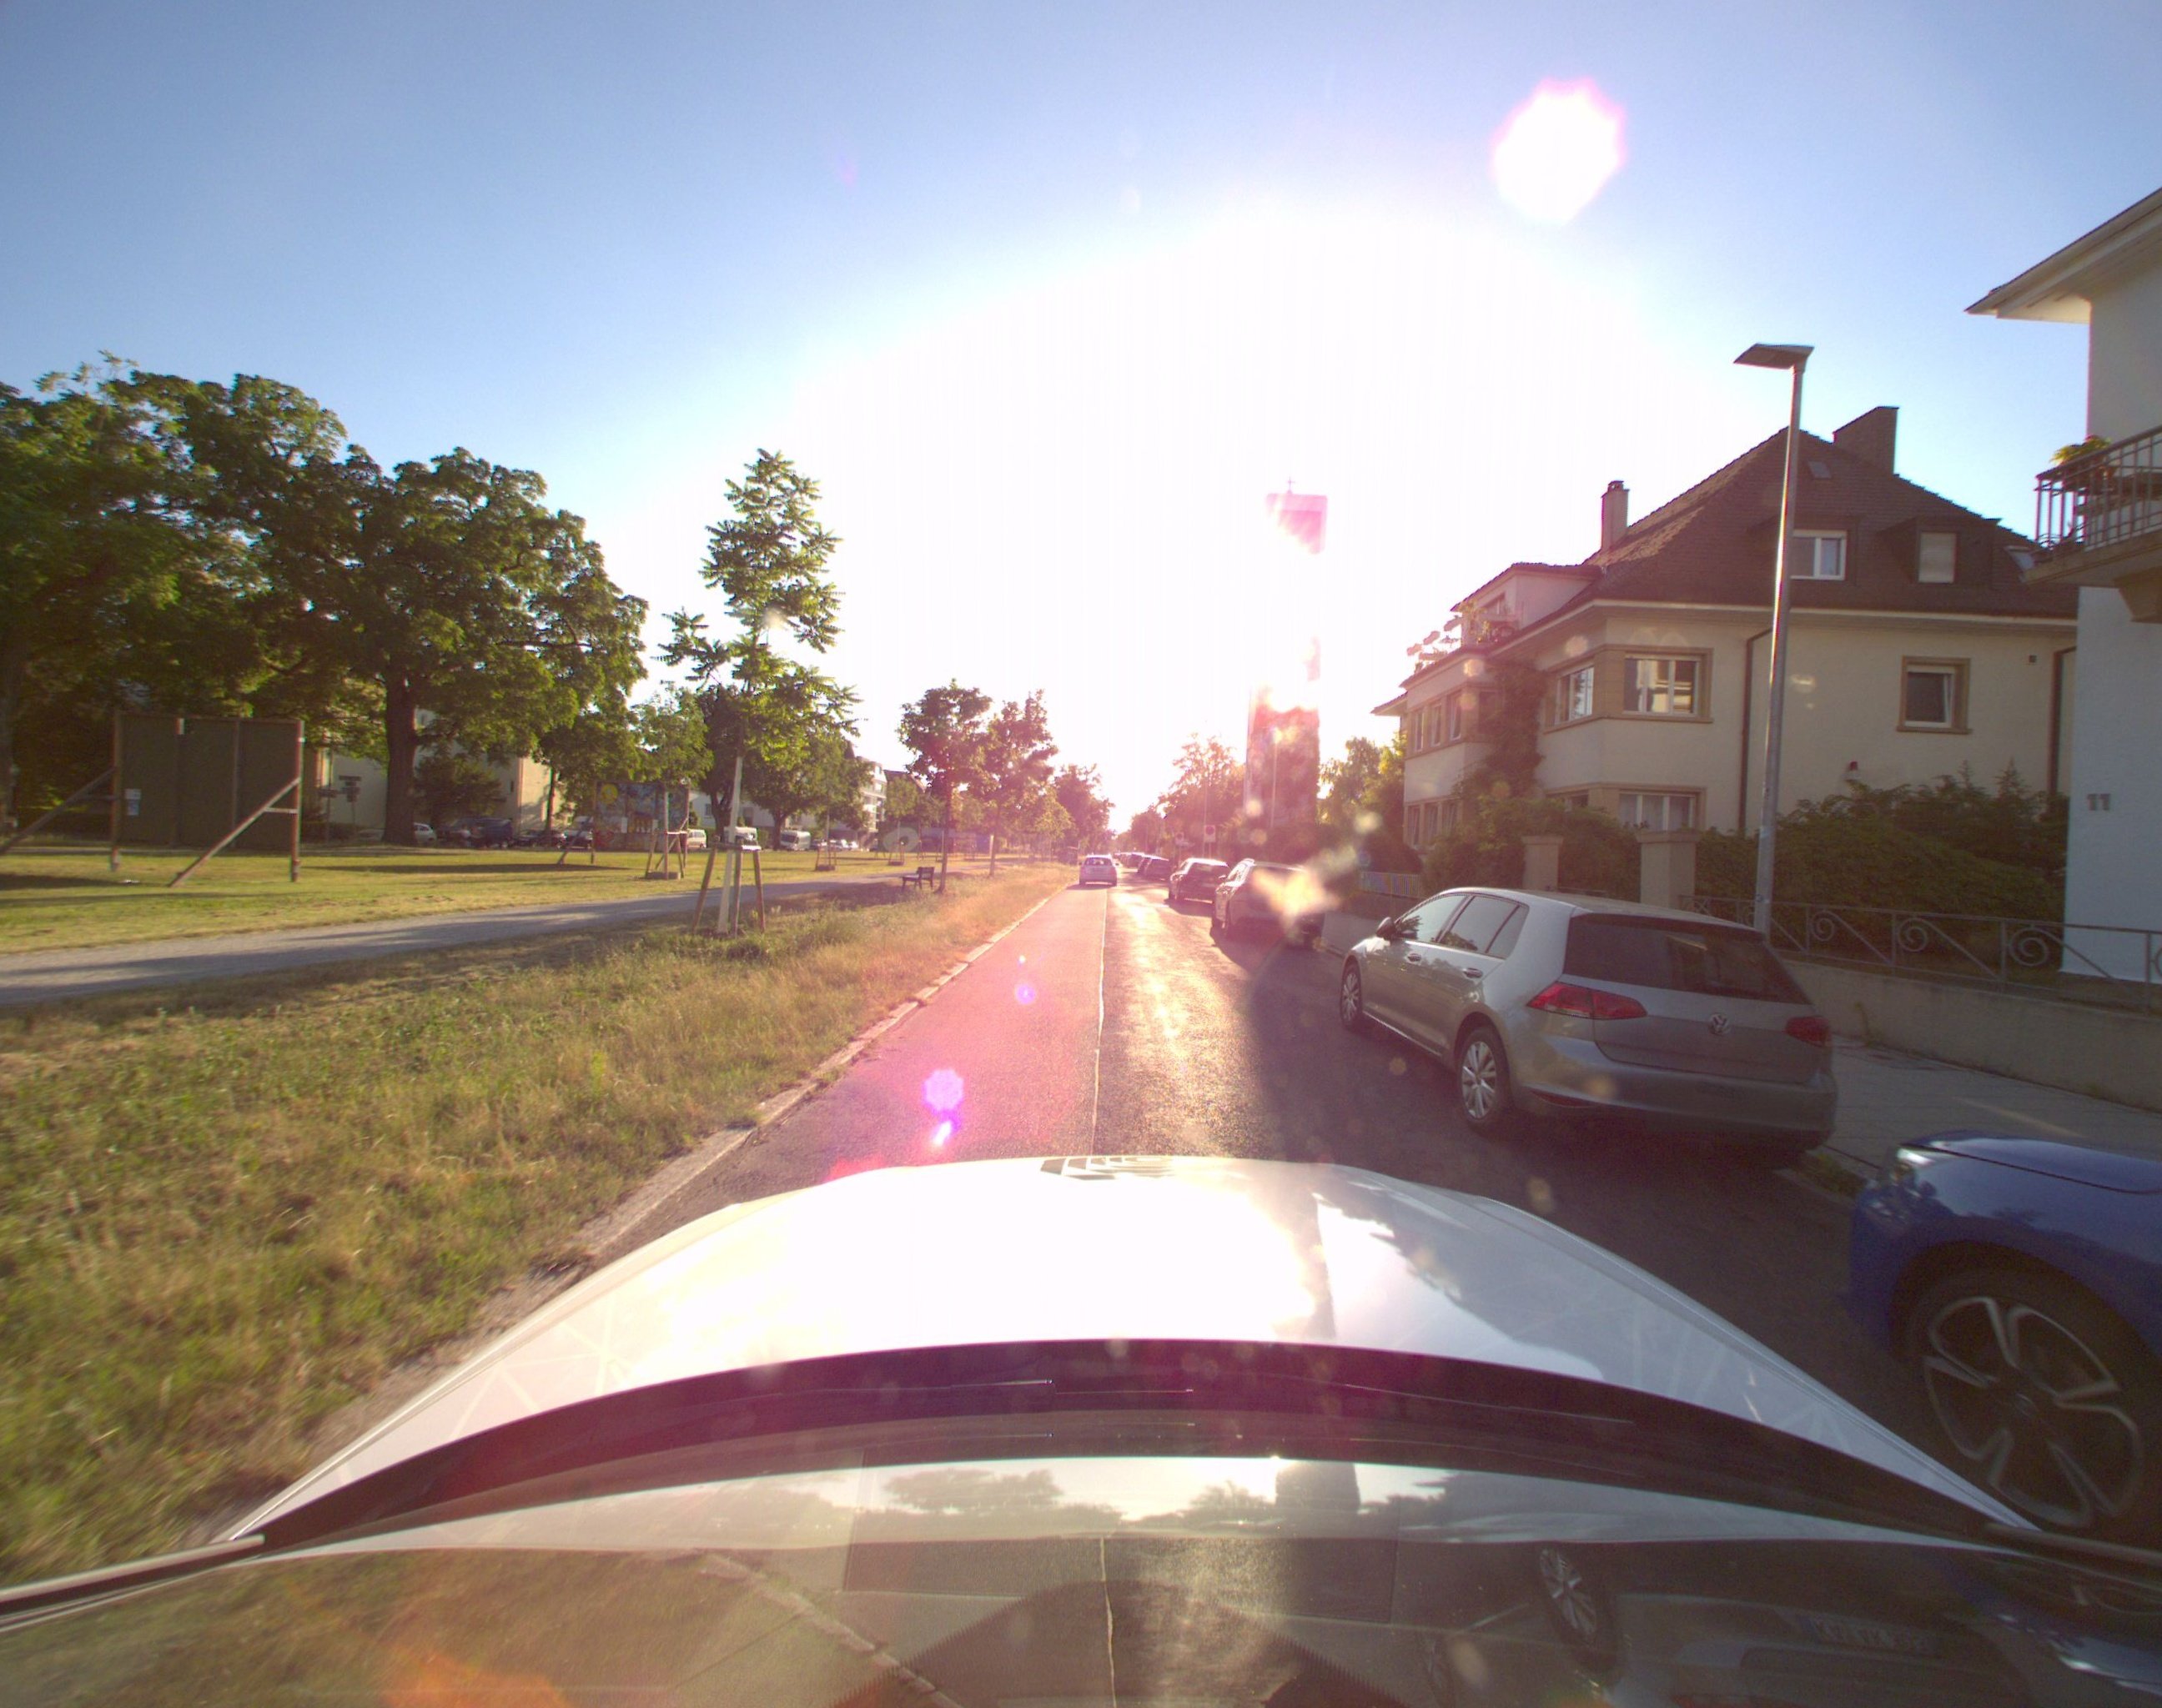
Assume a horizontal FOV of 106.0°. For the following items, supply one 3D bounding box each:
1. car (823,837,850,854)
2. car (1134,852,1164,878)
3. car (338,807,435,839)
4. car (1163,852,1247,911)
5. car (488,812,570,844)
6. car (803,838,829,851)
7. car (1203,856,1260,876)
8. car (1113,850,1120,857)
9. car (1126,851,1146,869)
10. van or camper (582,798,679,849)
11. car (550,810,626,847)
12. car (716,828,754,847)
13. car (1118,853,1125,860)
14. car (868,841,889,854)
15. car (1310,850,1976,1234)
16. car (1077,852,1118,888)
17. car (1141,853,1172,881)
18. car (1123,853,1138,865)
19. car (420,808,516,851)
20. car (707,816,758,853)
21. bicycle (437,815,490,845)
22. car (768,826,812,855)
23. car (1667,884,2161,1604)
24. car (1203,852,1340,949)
[{"bbox_3d":[-30.602,-1.050,102.145,1.826,1.899,4.645,-1,-1,3],"label":"car"},{"bbox_3d":[4.987,0.764,59.863,1.815,1.561,4.625,9,1,3],"label":"car"},{"bbox_3d":[-38.297,-1.664,45.029,1.987,1.542,3.809,3,0,0],"label":"car"},{"bbox_3d":[4.068,0.865,27.502,1.987,1.597,4.886,7,-1,1],"label":"car"},{"bbox_3d":[-37.964,-1.739,56.173,1.962,2.004,5.053,3,0,3],"label":"car"},{"bbox_3d":[-35.990,-1.247,110.783,1.775,1.703,4.668,-1,-1,2],"label":"car"},{"bbox_3d":[13.657,1.107,74.083,4.829,1.486,2.002,3,-3,1],"label":"car"},{"bbox_3d":[10.598,-0.097,244.753,1.981,2.023,4.002,3,0,2],"label":"car"},{"bbox_3d":[5.863,0.643,87.894,1.826,1.731,5.033,5,0,1],"label":"car"},{"bbox_3d":[-31.747,-2.033,57.759,2.631,3.262,6.909,3,0,3],"label":"van or camper"},{"bbox_3d":[-38.018,-1.918,63.055,1.986,2.598,6.092,-1,-1,2],"label":"car"},{"bbox_3d":[-31.051,-1.494,73.162,1.409,1.564,4.310,3,0,1],"label":"car"},{"bbox_3d":[9.251,0.543,186.366,1.715,1.597,4.002,2,-1,2],"label":"car"},{"bbox_3d":[-29.949,-0.952,120.315,1.882,1.917,4.329,-1,-1,2],"label":"car"},{"bbox_3d":[3.337,0.894,6.208,1.904,1.559,4.569,7,1,2],"label":"car"},{"bbox_3d":[0.817,0.710,38.716,1.816,1.566,4.003,2,0,2],"label":"car"},{"bbox_3d":[4.876,0.819,52.927,1.681,1.527,4.177,7,1,2],"label":"car"},{"bbox_3d":[7.033,0.666,116.012,1.985,1.462,4.565,4,0,3],"label":"car"},{"bbox_3d":[-37.990,-1.485,50.671,1.929,2.419,5.120,-1,-1,3],"label":"car"},{"bbox_3d":[-36.607,-1.954,85.752,2.294,3.559,6.768,-1,-1,2],"label":"car"},{"bbox_3d":[-29.430,-1.122,38.872,0.508,1.342,2.334,3,0,5],"label":"bicycle"},{"bbox_3d":[-30.844,-1.409,86.510,2.251,2.826,5.874,-1,-1,2],"label":"car"},{"bbox_3d":[3.156,0.935,0.921,1.757,1.435,4.303,9,-1,0],"label":"car"},{"bbox_3d":[3.703,0.857,16.627,1.875,1.536,4.465,6,-1,4],"label":"car"}]
